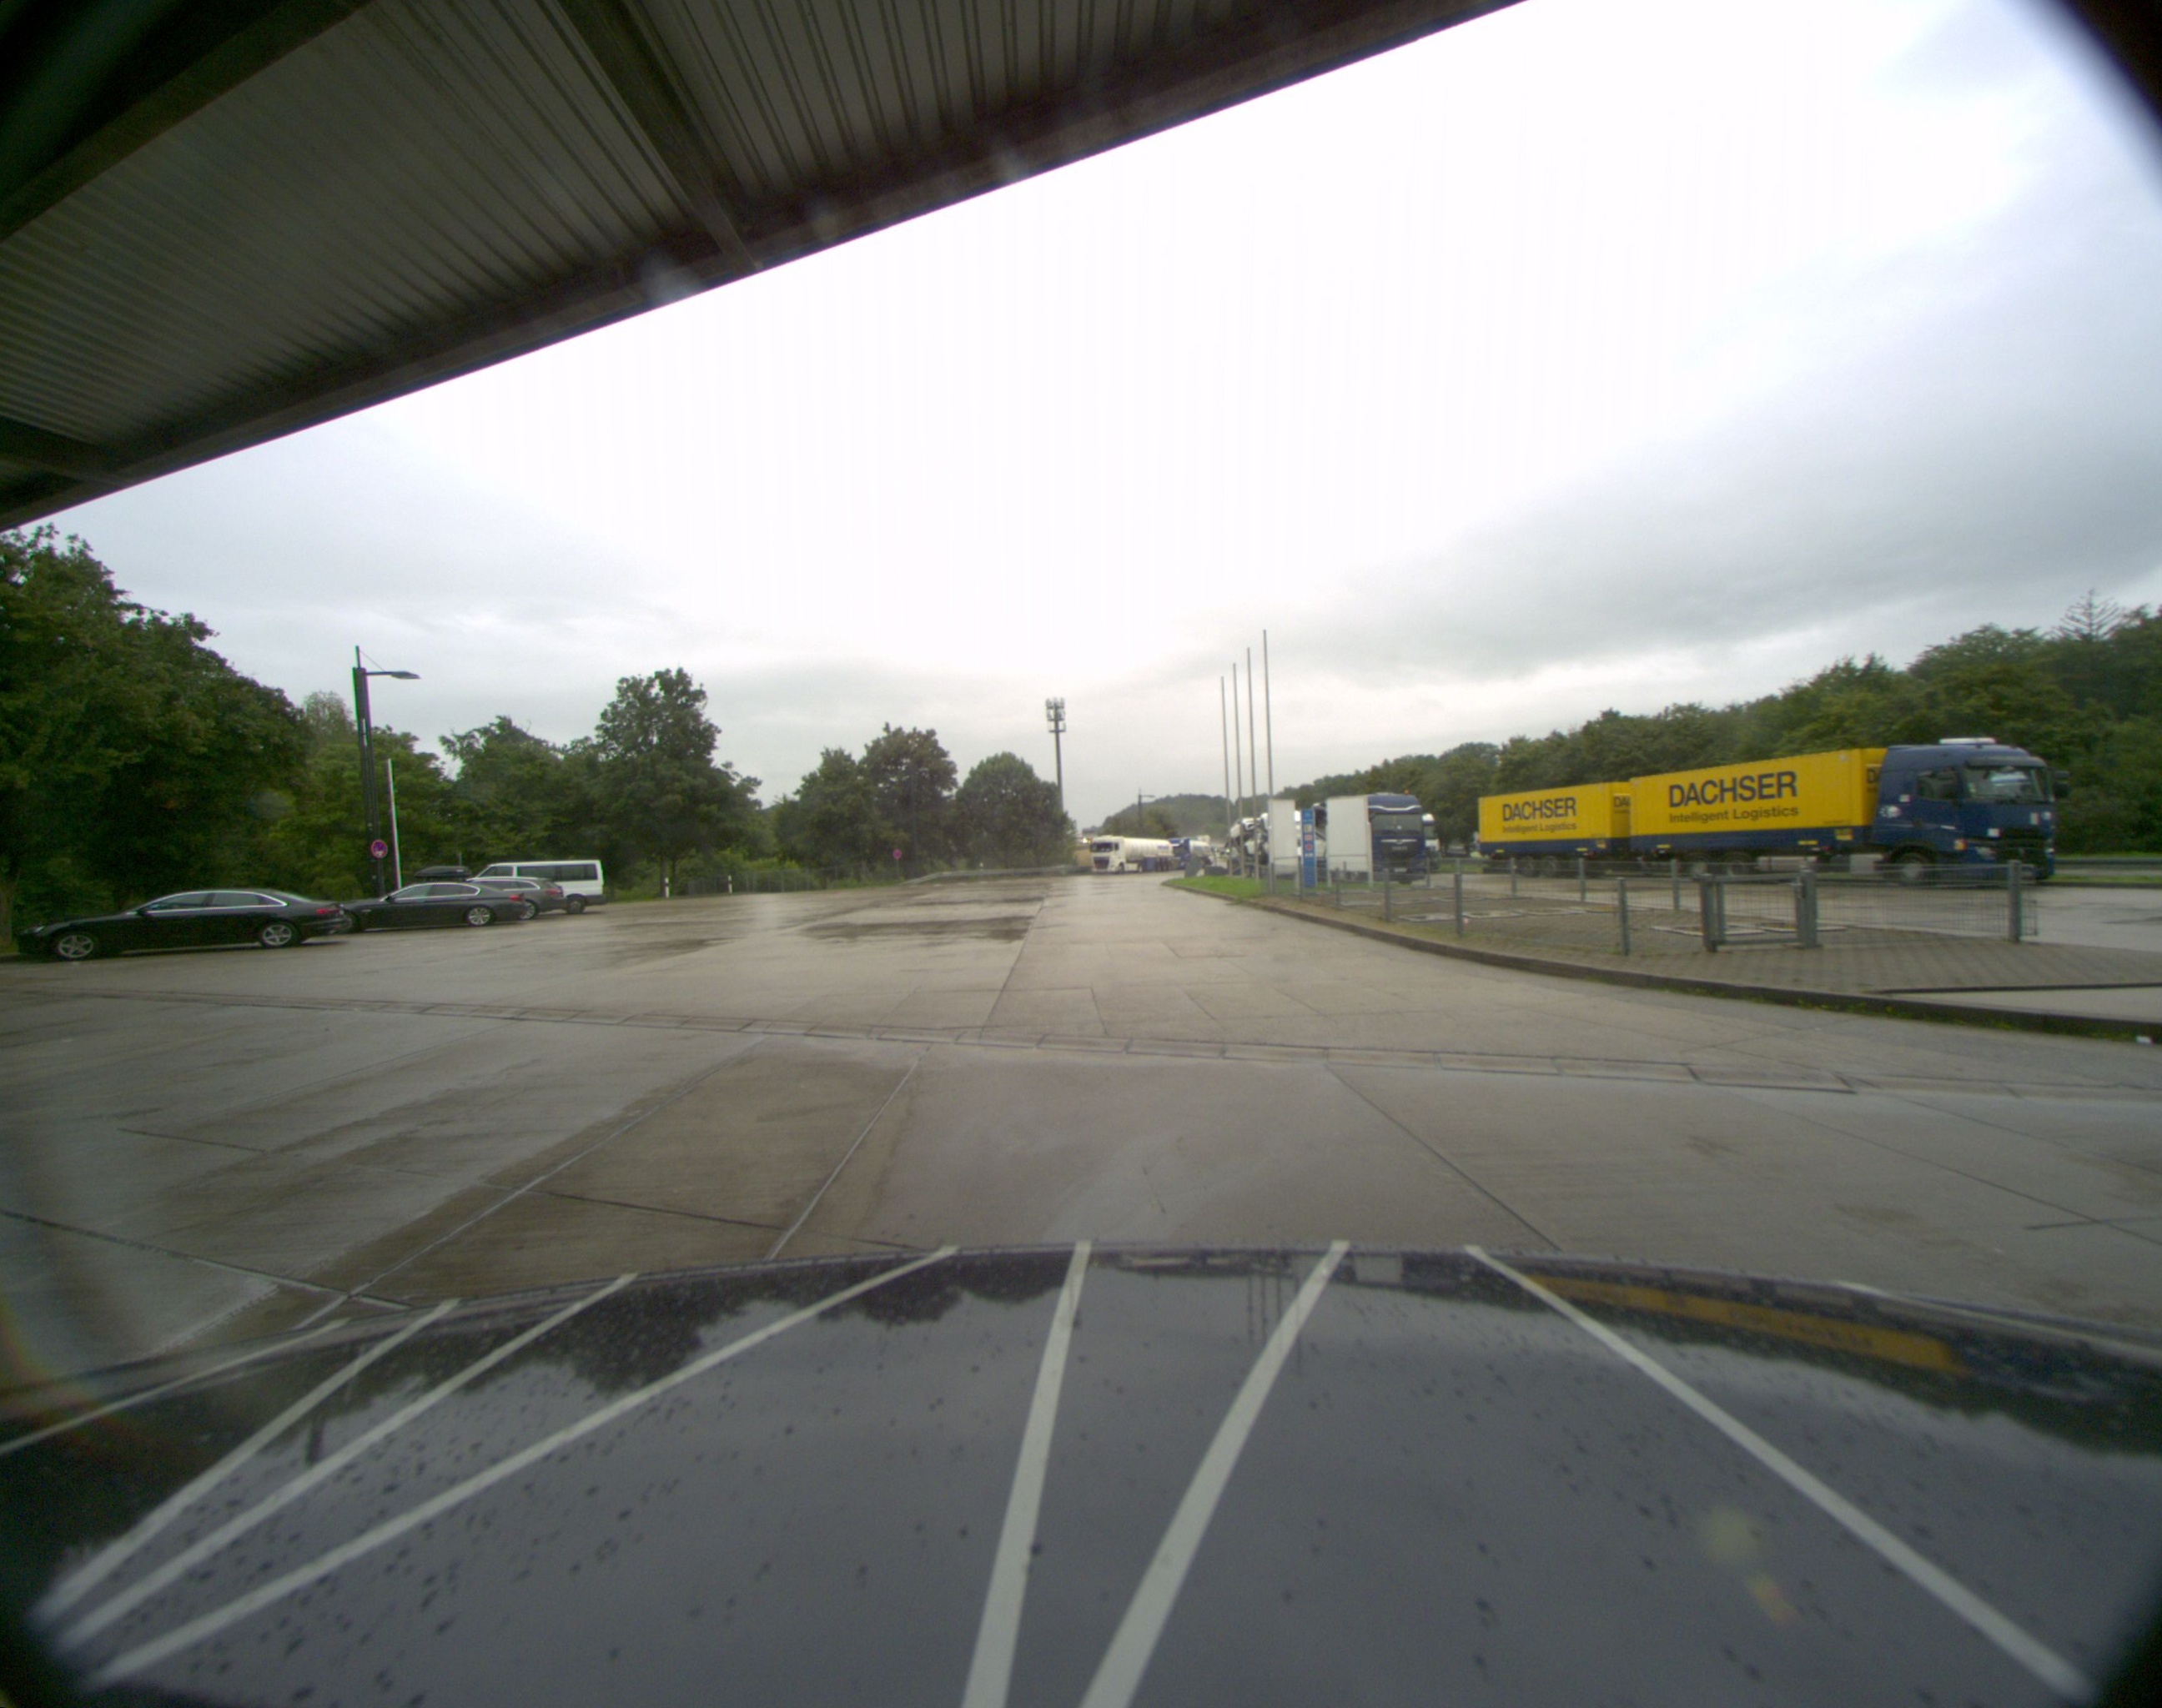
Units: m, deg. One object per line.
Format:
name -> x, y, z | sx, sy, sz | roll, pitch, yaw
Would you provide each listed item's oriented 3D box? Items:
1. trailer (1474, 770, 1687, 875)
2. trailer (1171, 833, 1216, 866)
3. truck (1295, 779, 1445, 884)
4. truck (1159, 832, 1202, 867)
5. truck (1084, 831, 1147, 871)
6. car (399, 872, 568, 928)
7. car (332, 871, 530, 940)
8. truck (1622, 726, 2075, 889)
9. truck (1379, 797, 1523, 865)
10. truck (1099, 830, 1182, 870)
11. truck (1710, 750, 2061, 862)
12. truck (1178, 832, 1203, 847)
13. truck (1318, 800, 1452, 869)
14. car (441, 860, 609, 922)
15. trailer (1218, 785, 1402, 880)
trailer -> 21.779, -1.270, 33.992 | 2.774, 4.009, 8.853 | -2, 1, -8
trailer -> 13.665, -0.647, 91.442 | 2.898, 3.618, 10.586 | -2, 1, 22
truck -> 12.299, -0.919, 33.248 | 2.990, 4.009, 7.259 | -2, 1, -7
truck -> 11.324, -0.520, 85.735 | 3.045, 3.745, 6.475 | -2, 1, 23
truck -> 3.313, -0.352, 71.439 | 3.243, 3.544, 6.114 | -2, 1, 31
car -> -19.658, 1.454, 25.283 | 4.187, 1.547, 1.995 | -2, 0, -33
car -> -19.126, 1.451, 22.643 | 4.187, 1.720, 1.995 | -2, 0, -33
truck -> 23.057, -1.210, 24.309 | 2.774, 4.009, 10.632 | -2, 1, -8
truck -> 24.357, -1.398, 50.956 | 2.991, 4.009, 10.464 | -2, 1, -10
truck -> 6.196, -0.518, 76.350 | 3.243, 3.544, 11.995 | -2, 1, 31
truck -> 33.771, -1.787, 32.933 | 2.991, 4.009, 10.464 | -2, 1, -10
truck -> 29.861, -3.875, 208.024 | 3.251, 3.543, 14.657 | -2, 0, -7
truck -> 19.755, -1.215, 50.433 | 2.991, 4.009, 10.464 | -2, 1, -10
car -> -20.268, 1.283, 27.914 | 4.780, 1.974, 2.010 | -2, 0, -36
trailer -> 11.370, -0.995, 40.940 | 2.990, 4.009, 16.597 | -2, 1, -7
